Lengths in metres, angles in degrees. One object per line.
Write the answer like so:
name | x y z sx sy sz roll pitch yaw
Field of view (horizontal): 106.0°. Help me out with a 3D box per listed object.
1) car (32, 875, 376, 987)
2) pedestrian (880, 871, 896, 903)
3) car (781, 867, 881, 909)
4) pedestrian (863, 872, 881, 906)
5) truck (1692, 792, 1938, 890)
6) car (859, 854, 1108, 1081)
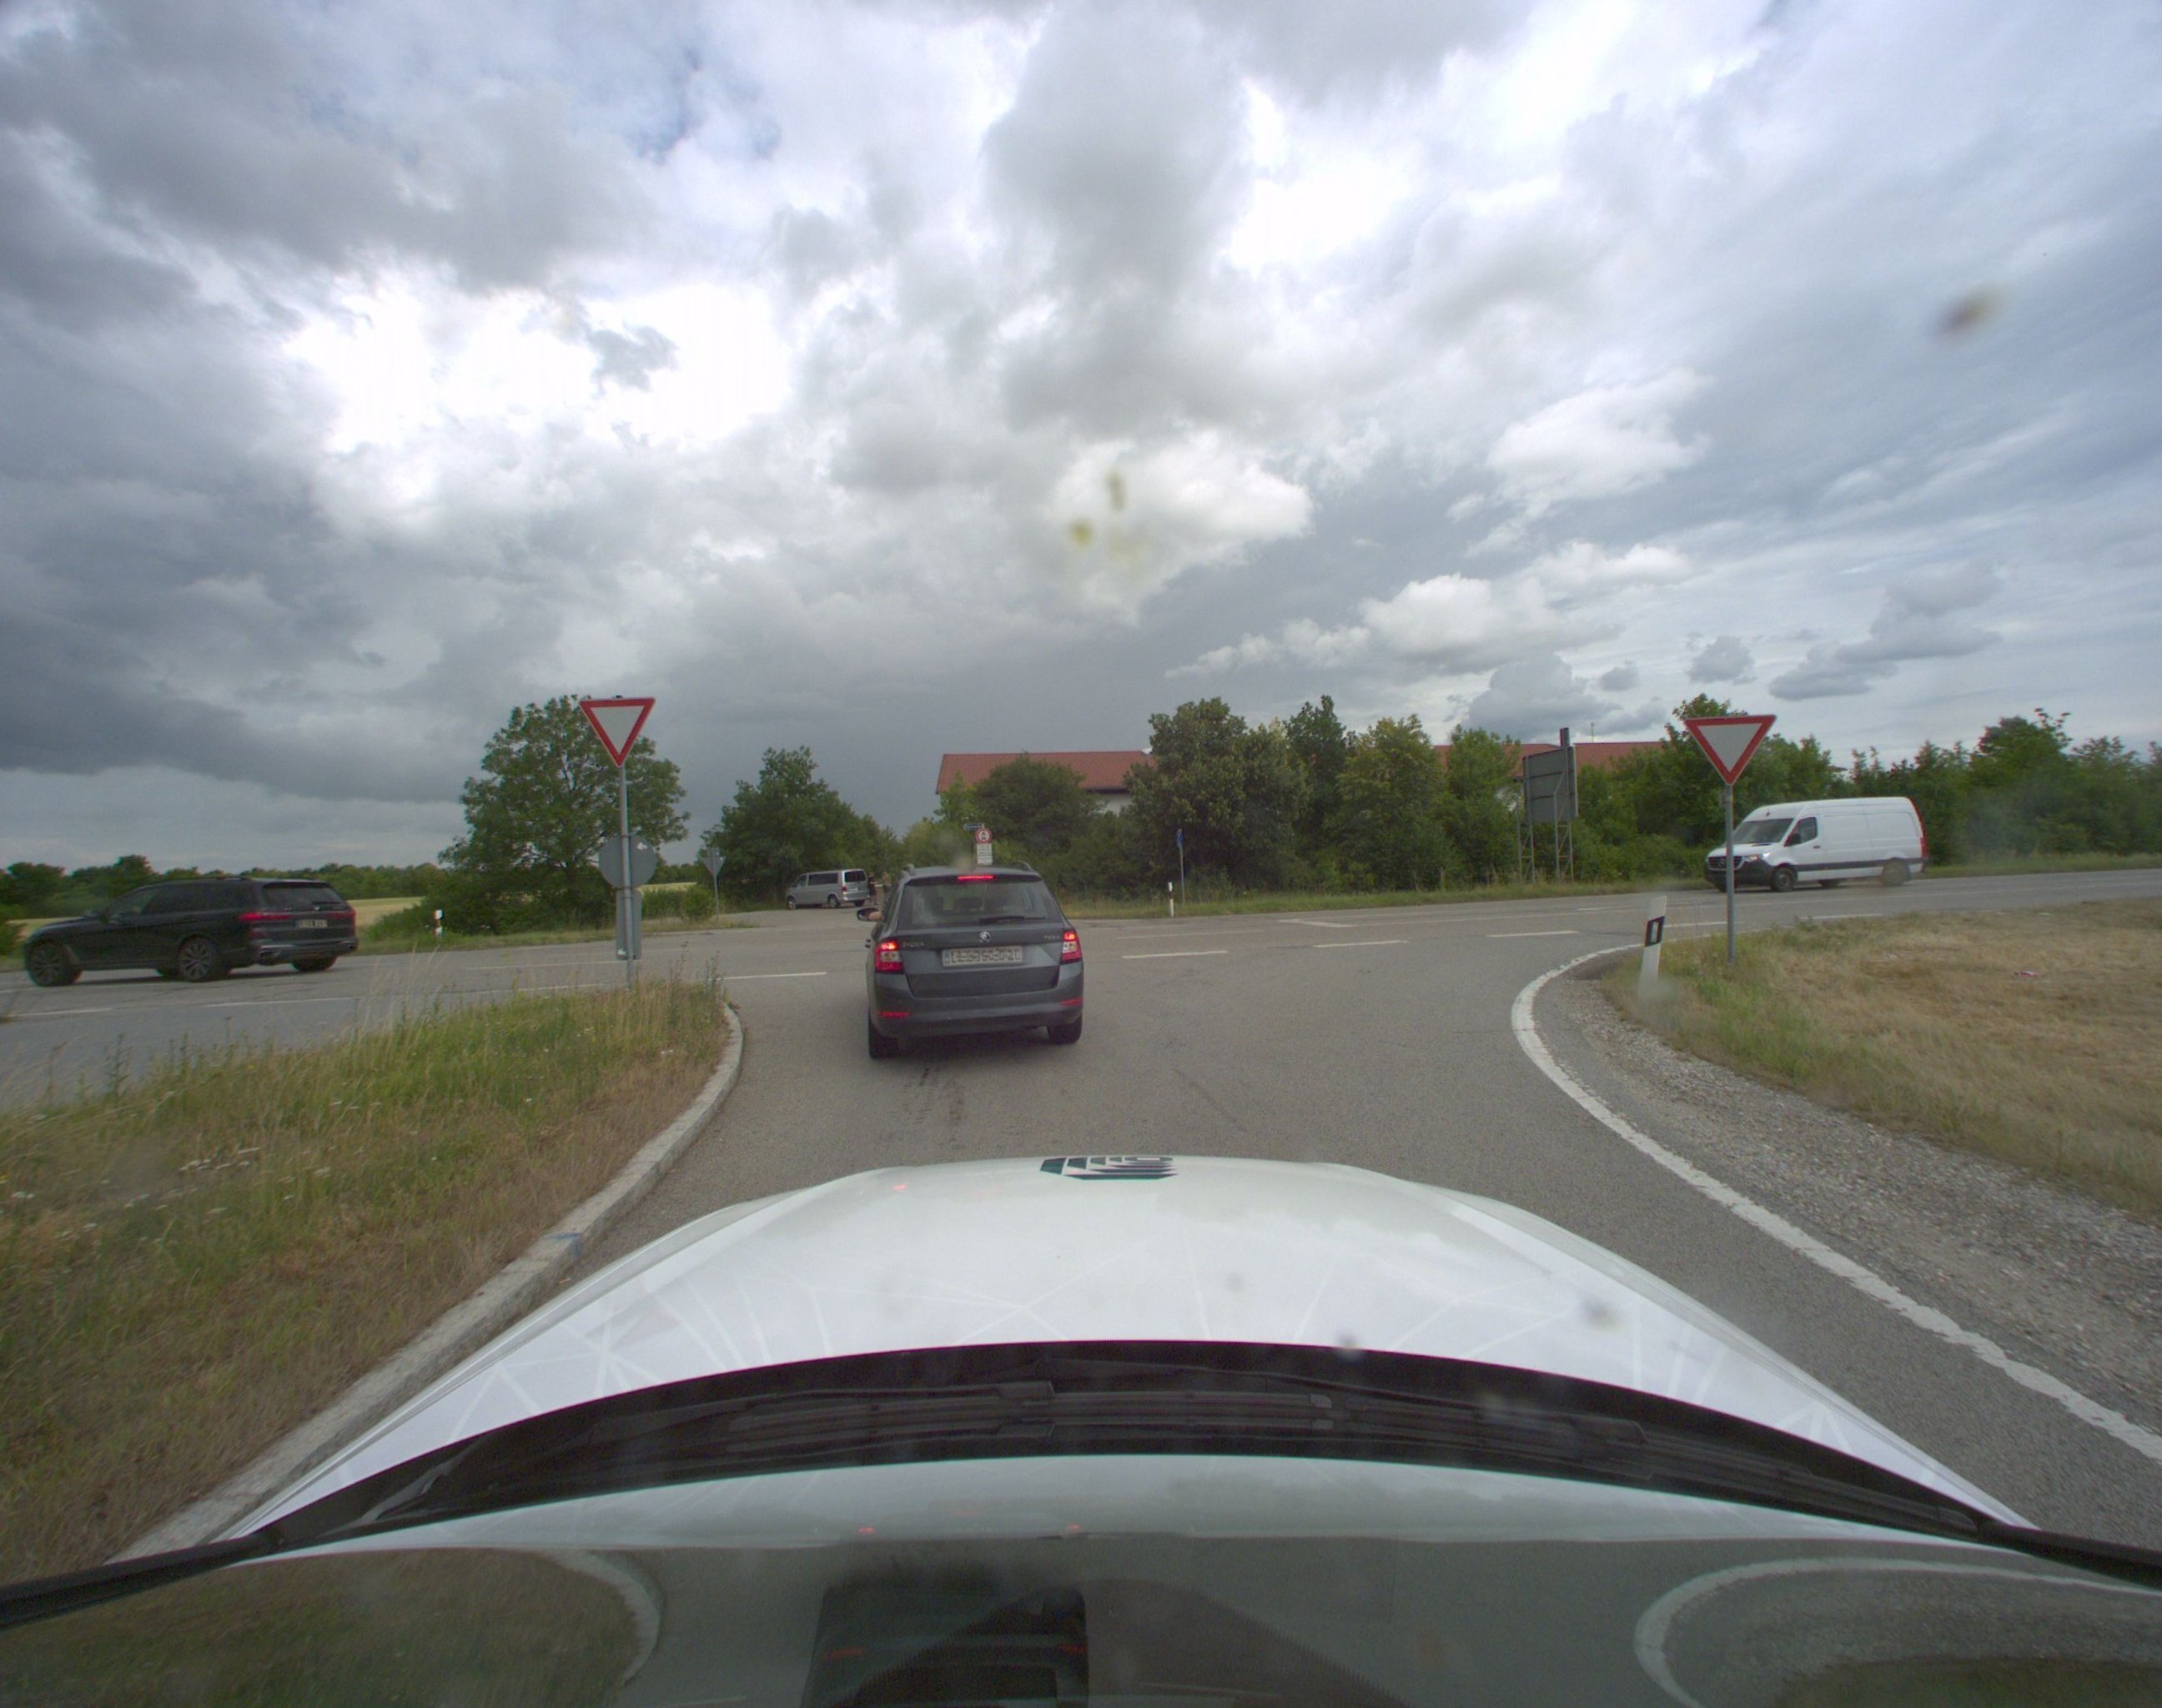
car | -16.104 1.375 15.084 4.603 1.774 2.004 -2 -1 8
pedestrian | -10.578 1.814 44.639 0.578 1.682 0.569 -3 0 19
car | -13.307 1.822 43.305 4.851 2.013 2.357 -3 1 32
pedestrian | -10.999 1.839 42.881 0.523 1.725 0.646 -3 0 31
truck | 21.632 -0.364 24.084 5.994 2.576 1.994 -2 -2 -9
car | -1.076 0.751 7.344 1.679 1.462 3.689 -1 0 -14
